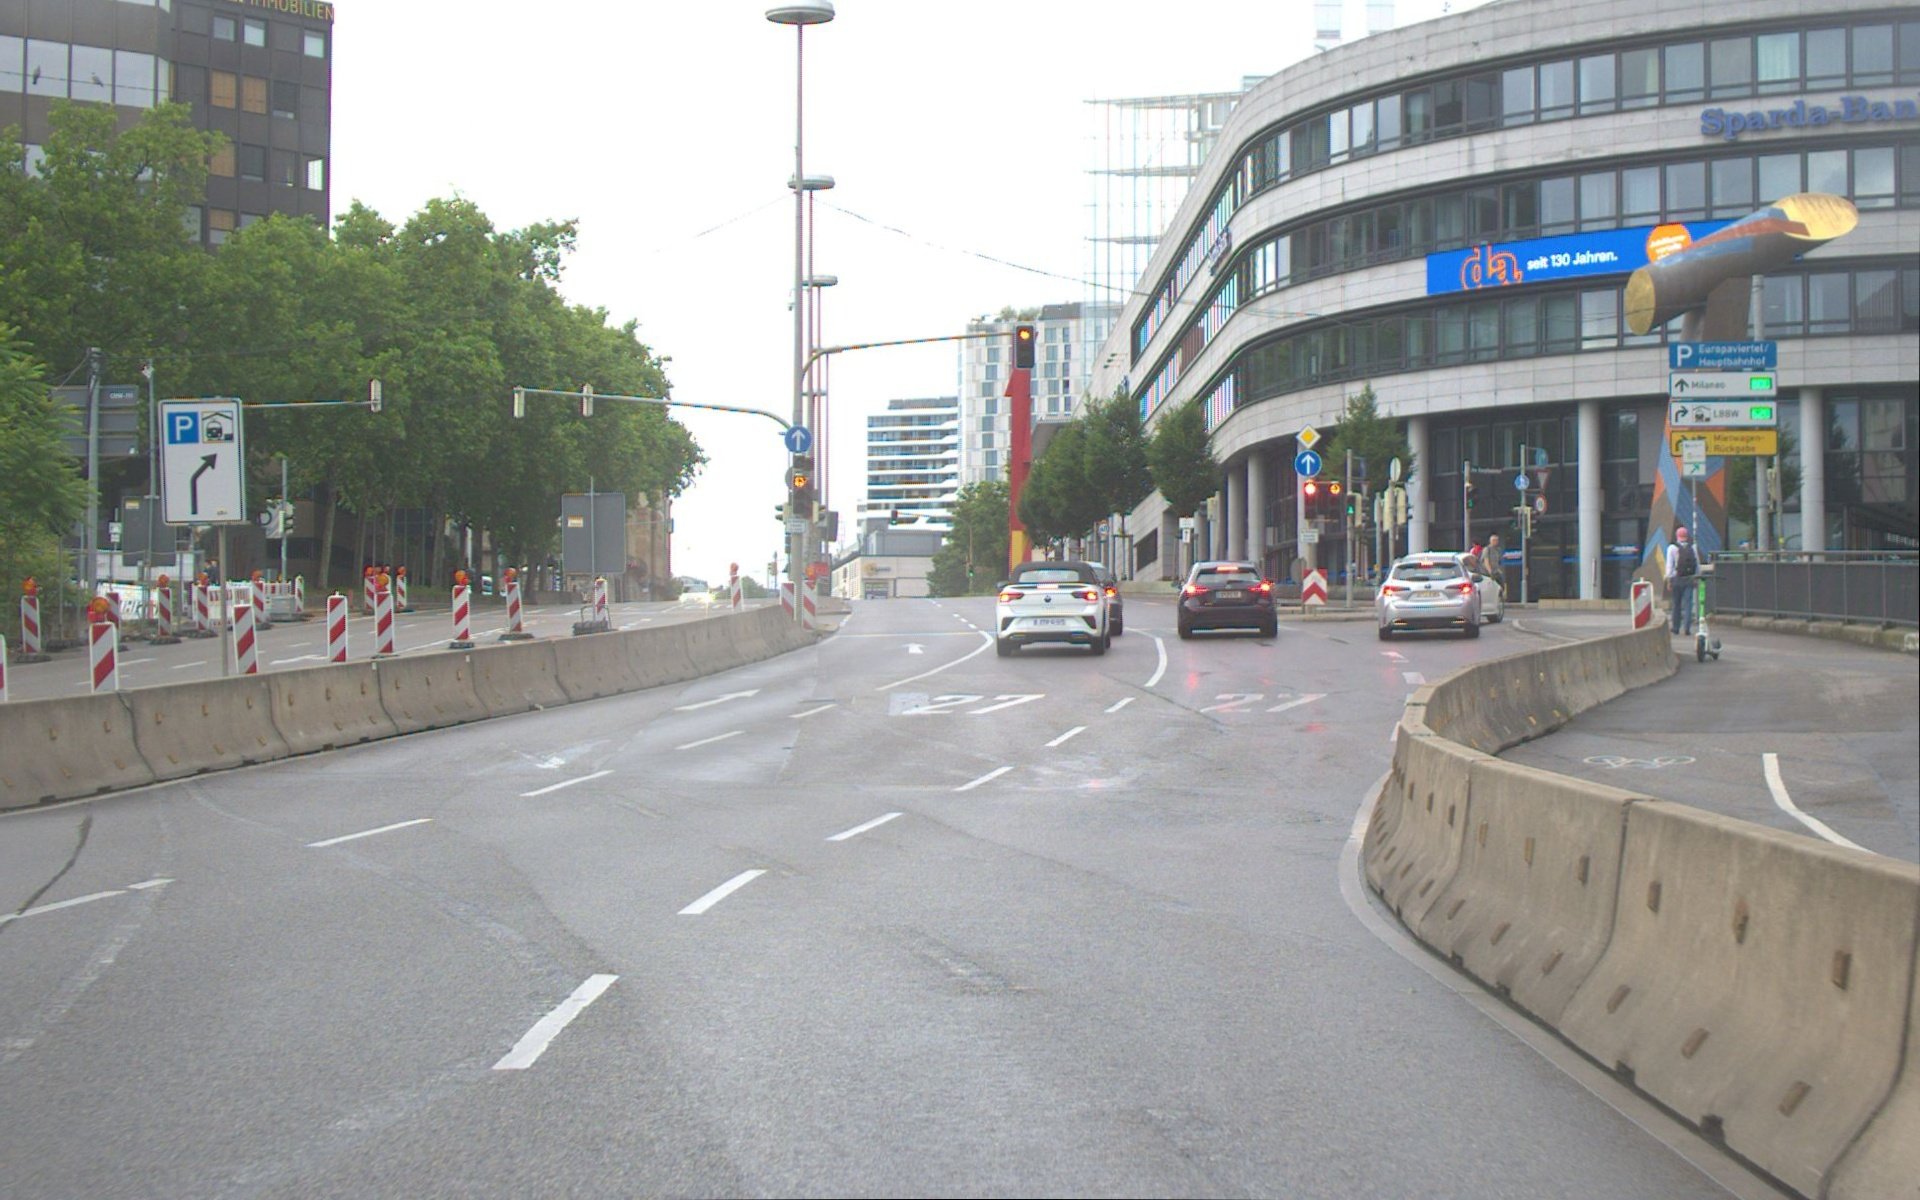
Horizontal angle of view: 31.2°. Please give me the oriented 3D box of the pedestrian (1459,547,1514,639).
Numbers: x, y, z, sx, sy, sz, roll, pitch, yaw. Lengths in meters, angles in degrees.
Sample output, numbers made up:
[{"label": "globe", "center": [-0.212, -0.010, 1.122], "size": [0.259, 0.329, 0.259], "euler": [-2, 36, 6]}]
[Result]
[{"label": "pedestrian", "center": [12.307, -0.168, 80.303], "size": [0.852, 2.091, 0.904], "euler": [2, 0, -24]}]

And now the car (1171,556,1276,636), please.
[{"label": "car", "center": [4.869, -0.059, 63.903], "size": [1.755, 1.402, 4.227], "euler": [1, 0, 2]}]

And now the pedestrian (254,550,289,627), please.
[{"label": "pedestrian", "center": [-17.140, -0.283, 85.595], "size": [0.672, 1.895, 0.775], "euler": [0, -2, 2]}]

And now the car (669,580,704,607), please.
[{"label": "car", "center": [-15.832, -0.377, 199.324], "size": [1.761, 1.455, 4.360], "euler": [-1, 1, -1]}]

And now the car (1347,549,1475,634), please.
[{"label": "car", "center": [8.052, -0.135, 61.707], "size": [1.701, 1.446, 4.616], "euler": [0, 0, 0]}]

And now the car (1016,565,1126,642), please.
[{"label": "car", "center": [2.107, 0.047, 66.118], "size": [1.739, 1.438, 4.001], "euler": [0, 1, -3]}]

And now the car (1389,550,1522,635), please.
[{"label": "car", "center": [9.941, -0.181, 68.705], "size": [1.773, 1.628, 4.576], "euler": [0, 1, 19]}]

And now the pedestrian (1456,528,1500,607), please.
[{"label": "pedestrian", "center": [12.660, -0.793, 84.004], "size": [0.841, 1.898, 0.860], "euler": [-1, -2, 25]}]

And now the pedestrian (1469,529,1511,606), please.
[{"label": "pedestrian", "center": [13.075, -0.795, 84.793], "size": [0.841, 1.898, 0.731], "euler": [-1, 0, 25]}]

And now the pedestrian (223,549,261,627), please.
[{"label": "pedestrian", "center": [-17.885, -0.293, 85.643], "size": [0.761, 1.916, 0.742], "euler": [0, -2, 2]}]

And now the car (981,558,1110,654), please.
[{"label": "car", "center": [1.461, 0.071, 57.368], "size": [1.964, 1.543, 4.218], "euler": [0, 1, 4]}]

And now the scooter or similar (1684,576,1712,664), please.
[{"label": "scooter or similar", "center": [9.836, 0.269, 45.802], "size": [0.349, 1.158, 0.572], "euler": [0, -1, 14]}]

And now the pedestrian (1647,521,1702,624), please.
[{"label": "pedestrian", "center": [11.973, -0.457, 57.631], "size": [0.729, 1.705, 0.843], "euler": [0, -2, -1]}]
